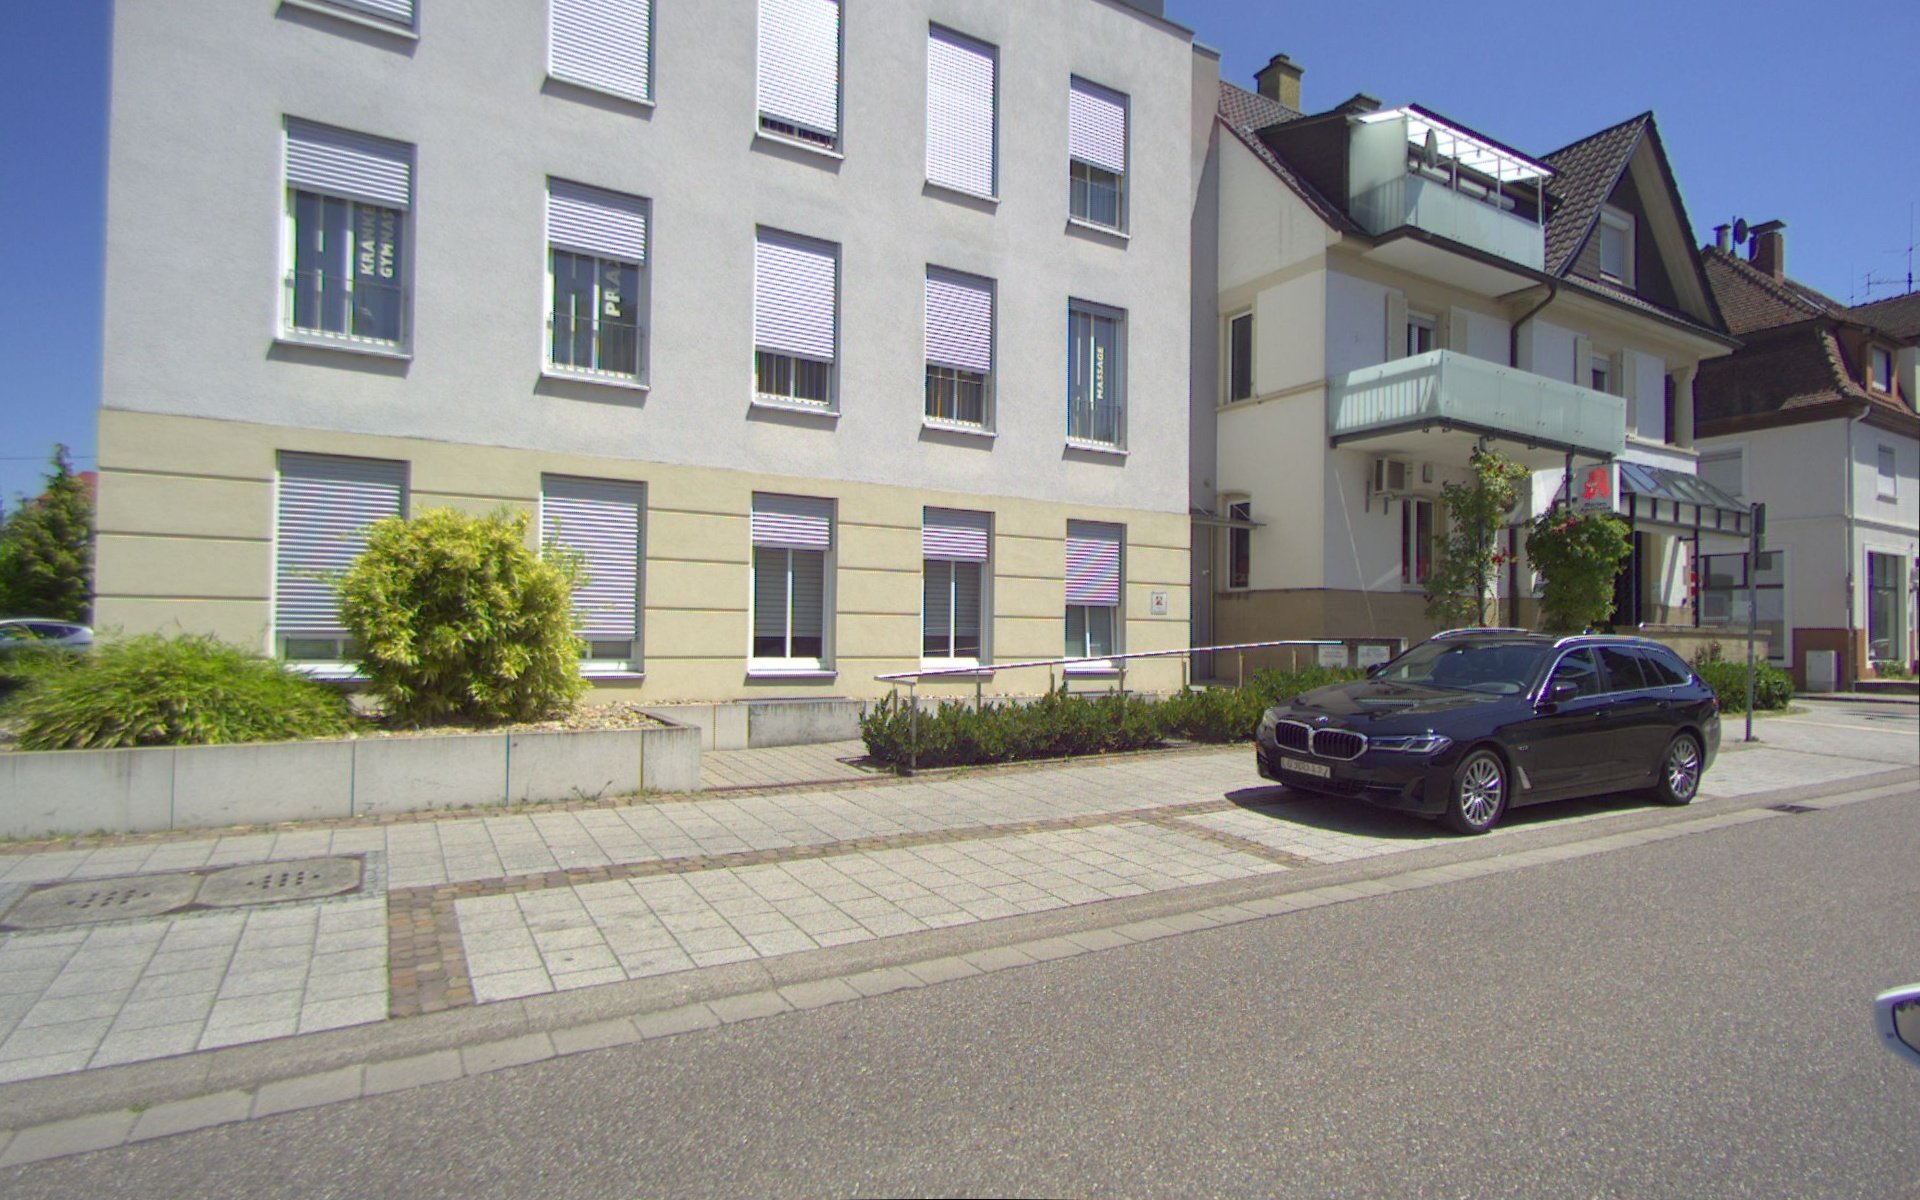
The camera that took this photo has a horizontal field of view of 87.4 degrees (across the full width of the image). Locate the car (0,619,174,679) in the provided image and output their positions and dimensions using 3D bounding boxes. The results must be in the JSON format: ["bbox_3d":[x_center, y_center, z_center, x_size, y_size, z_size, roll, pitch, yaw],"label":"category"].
[{"bbox_3d":[-23.752,1.282,26.810,4.140,1.494,1.983,2,-2,-32],"label":"car"}]

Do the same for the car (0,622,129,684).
[{"bbox_3d":[-22.872,1.258,24.277,3.998,1.457,1.941,1,-2,-31],"label":"car"}]

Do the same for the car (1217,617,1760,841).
[{"bbox_3d":[4.889,0.967,9.068,5.088,1.471,1.907,2,1,-30],"label":"car"}]
